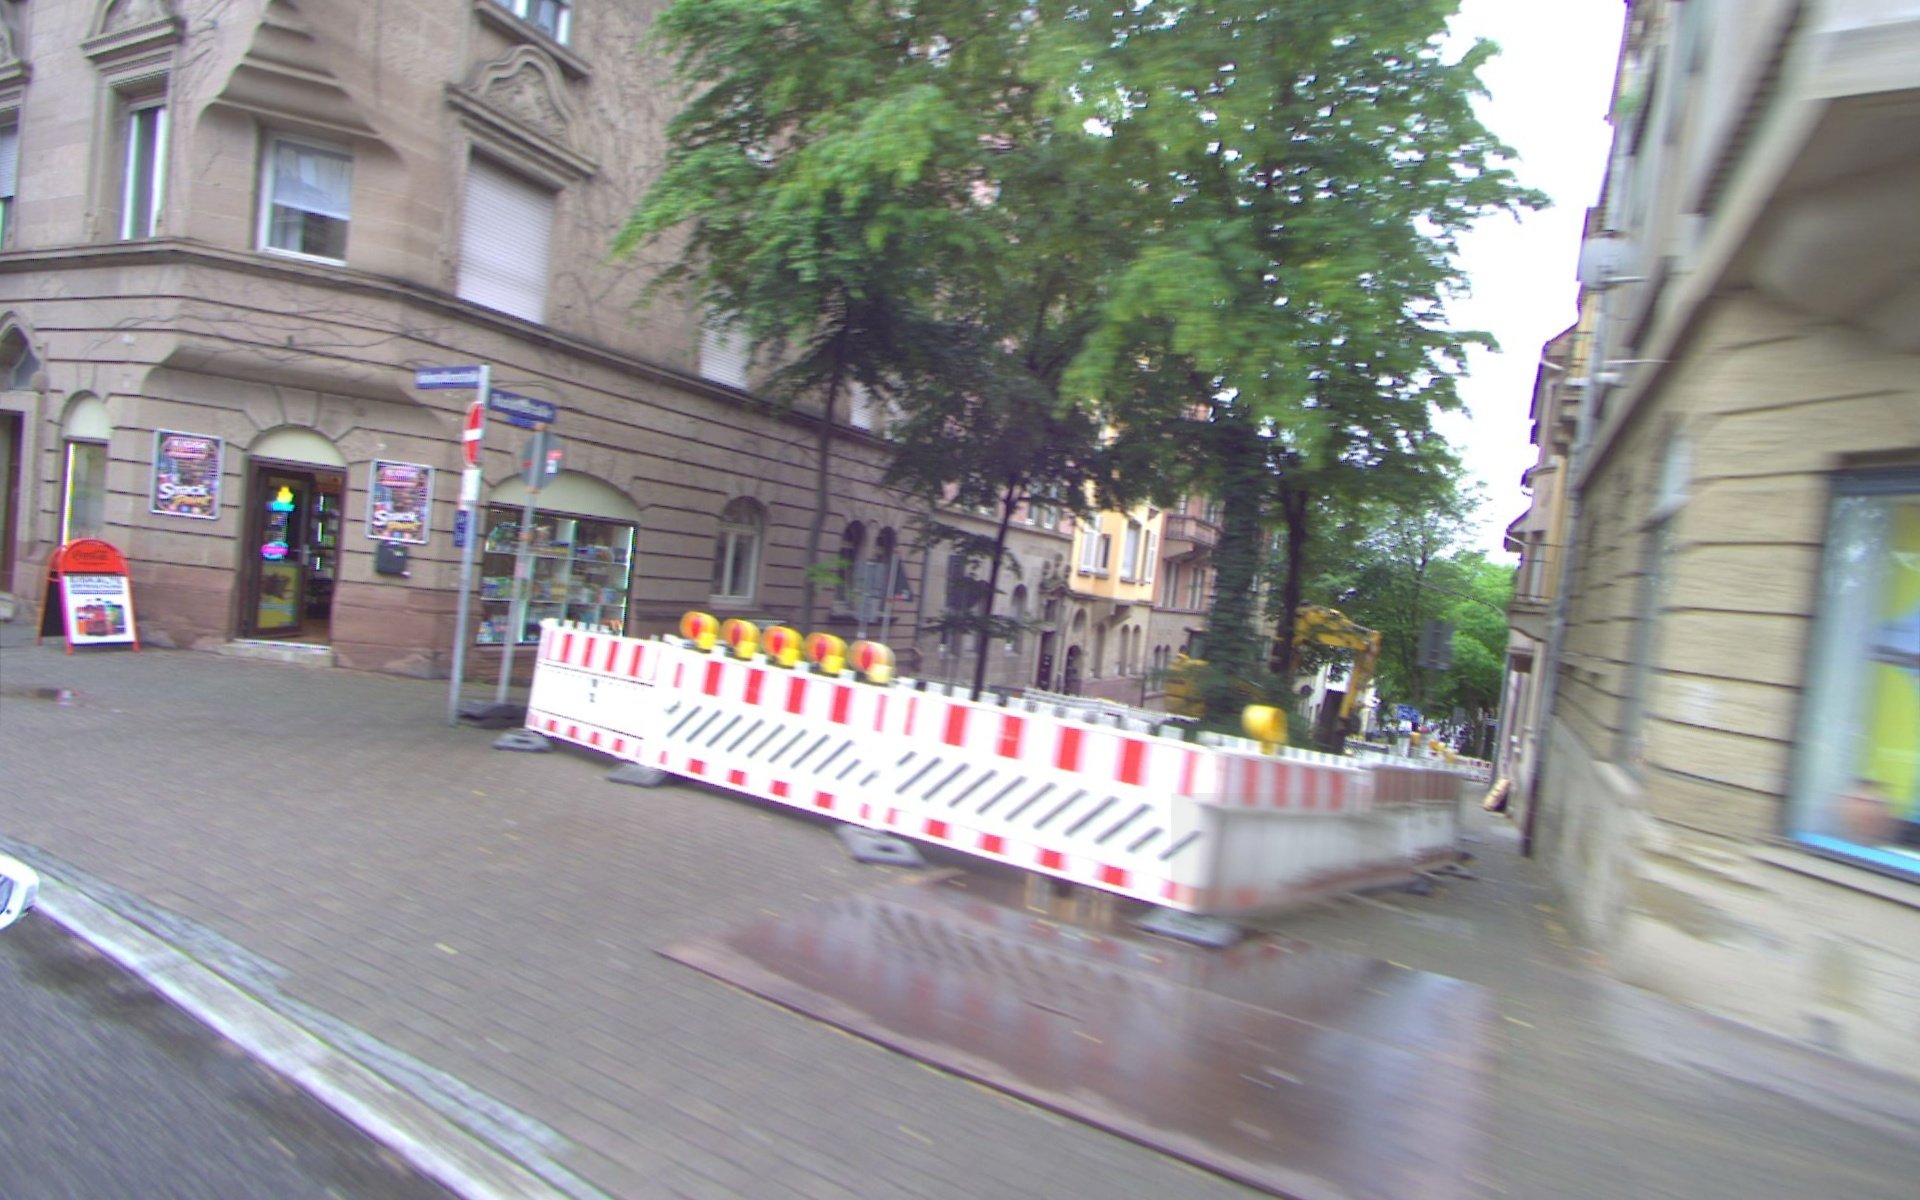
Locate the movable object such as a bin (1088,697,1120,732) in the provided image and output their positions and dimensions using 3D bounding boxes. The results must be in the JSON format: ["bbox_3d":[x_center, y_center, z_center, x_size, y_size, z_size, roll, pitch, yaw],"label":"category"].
[{"bbox_3d":[4.513,3.587,31.540,0.630,1.021,0.673,6,0,37],"label":"movable object such as a bin"}]

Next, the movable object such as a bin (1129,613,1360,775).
[{"bbox_3d":[6.184,2.023,22.018,3.947,3.000,2.501,6,0,-23],"label":"movable object such as a bin"}]
